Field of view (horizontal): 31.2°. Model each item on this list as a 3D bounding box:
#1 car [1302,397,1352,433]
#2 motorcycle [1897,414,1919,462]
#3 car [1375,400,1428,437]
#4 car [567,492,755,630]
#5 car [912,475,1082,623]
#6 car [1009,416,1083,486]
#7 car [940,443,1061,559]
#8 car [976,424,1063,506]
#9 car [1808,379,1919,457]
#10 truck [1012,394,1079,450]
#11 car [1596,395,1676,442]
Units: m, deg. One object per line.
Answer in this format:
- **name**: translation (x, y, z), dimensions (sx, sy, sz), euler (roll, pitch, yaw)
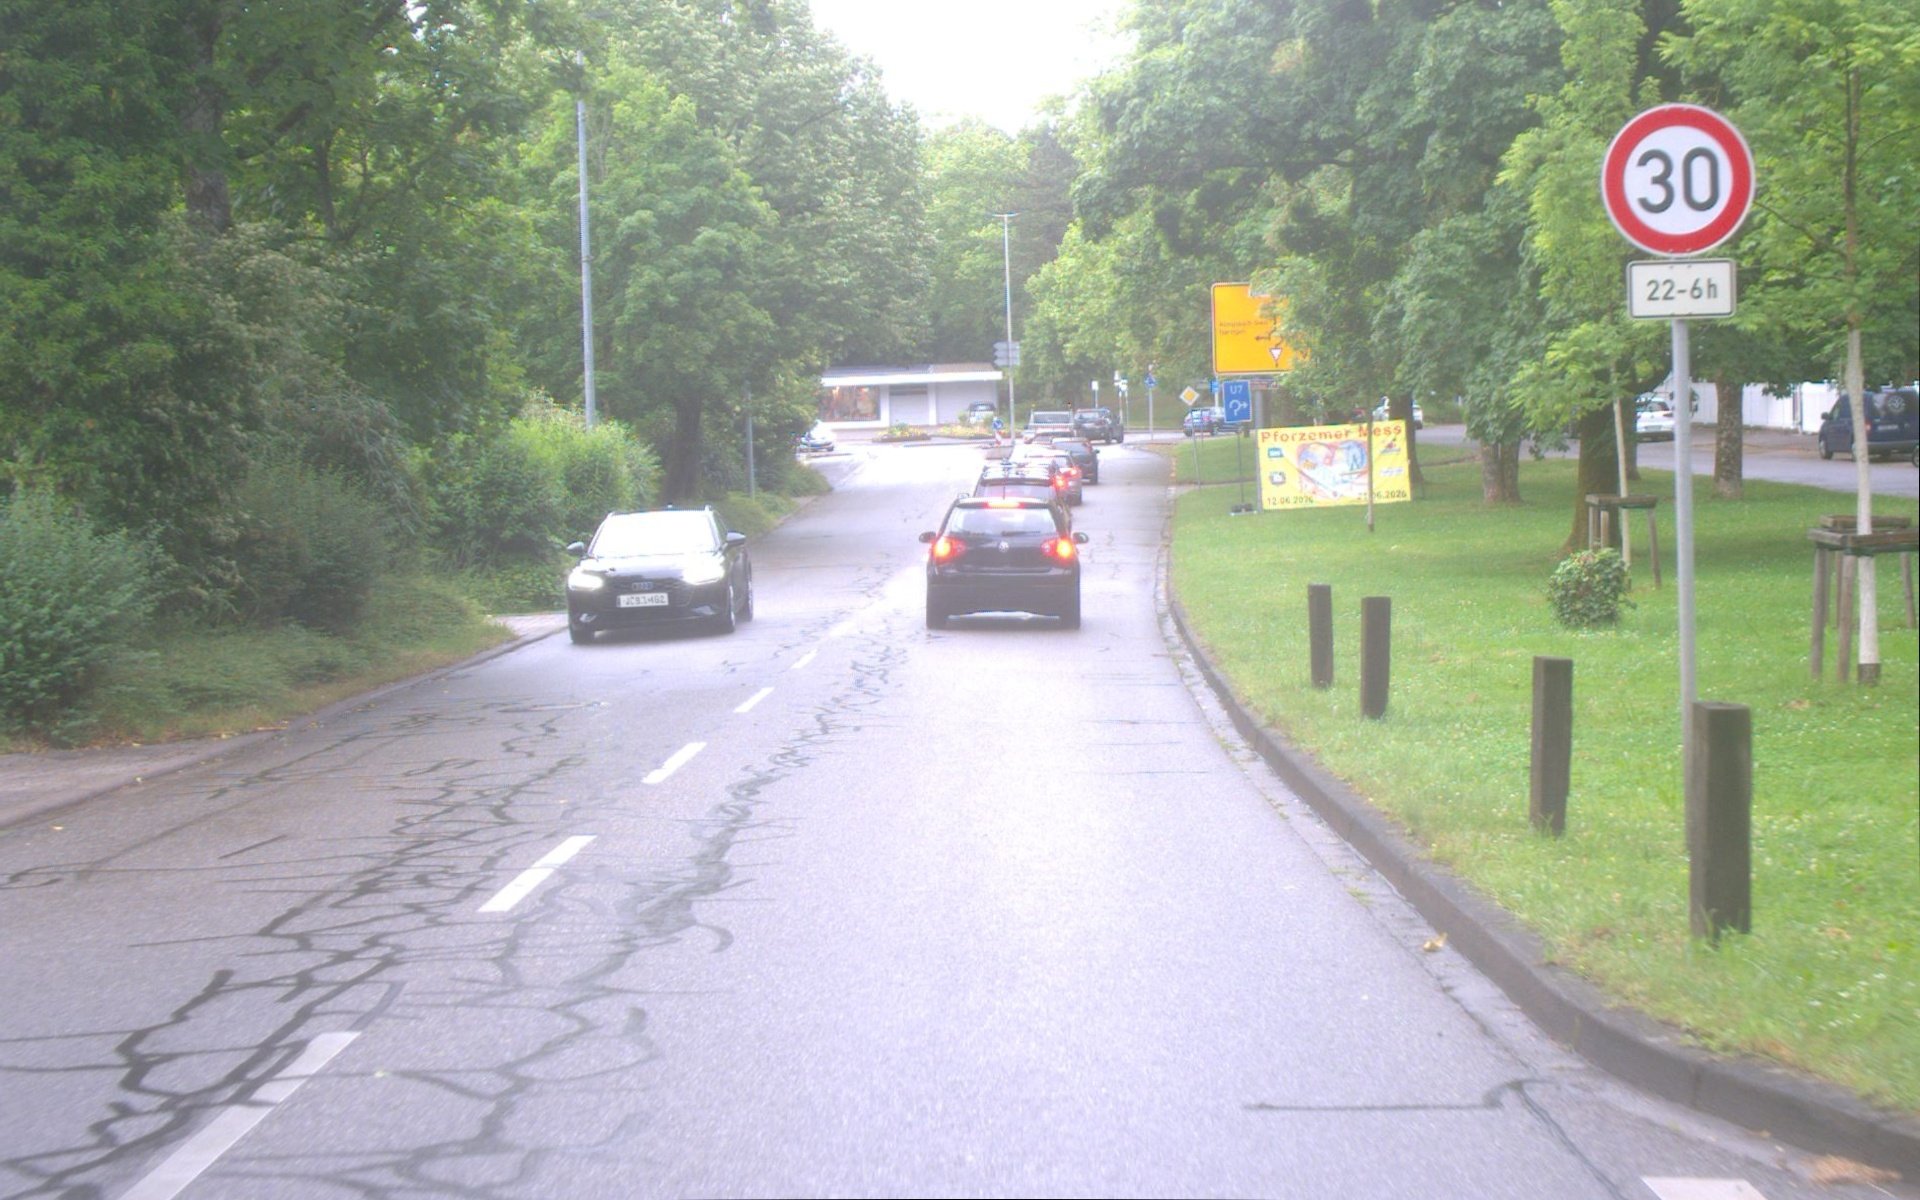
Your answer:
- **car**: translation (15.632, -7.892, 146.579), dimensions (1.803, 1.380, 4.001), euler (-3, 4, 2)
- **motorcycle**: translation (22.983, -3.807, 80.595), dimensions (1.887, 1.088, 0.658), euler (0, 5, 22)
- **car**: translation (18.804, -7.742, 146.461), dimensions (1.803, 1.401, 4.001), euler (-3, 4, 2)
- **car**: translation (-3.425, -0.498, 40.073), dimensions (1.754, 1.358, 4.326), euler (-3, 3, 0)
- **car**: translation (0.468, -0.624, 39.389), dimensions (1.799, 1.510, 3.754), euler (1, 3, 2)
- **car**: translation (2.320, -4.018, 92.185), dimensions (1.855, 1.778, 4.000), euler (-2, 3, 3)
- **car**: translation (0.711, -1.692, 57.652), dimensions (1.855, 1.778, 4.000), euler (-2, 3, 3)
- **car**: translation (1.405, -3.136, 79.497), dimensions (1.855, 1.778, 4.000), euler (-2, 3, 3)
- **car**: translation (23.238, -4.662, 87.681), dimensions (1.941, 1.802, 4.650), euler (-3, 4, 0)
- **truck**: translation (3.222, -6.778, 130.457), dimensions (2.416, 1.997, 5.151), euler (-2, 3, 1)
- **car**: translation (22.383, -6.041, 113.986), dimensions (1.616, 1.404, 4.012), euler (-3, 4, -3)
